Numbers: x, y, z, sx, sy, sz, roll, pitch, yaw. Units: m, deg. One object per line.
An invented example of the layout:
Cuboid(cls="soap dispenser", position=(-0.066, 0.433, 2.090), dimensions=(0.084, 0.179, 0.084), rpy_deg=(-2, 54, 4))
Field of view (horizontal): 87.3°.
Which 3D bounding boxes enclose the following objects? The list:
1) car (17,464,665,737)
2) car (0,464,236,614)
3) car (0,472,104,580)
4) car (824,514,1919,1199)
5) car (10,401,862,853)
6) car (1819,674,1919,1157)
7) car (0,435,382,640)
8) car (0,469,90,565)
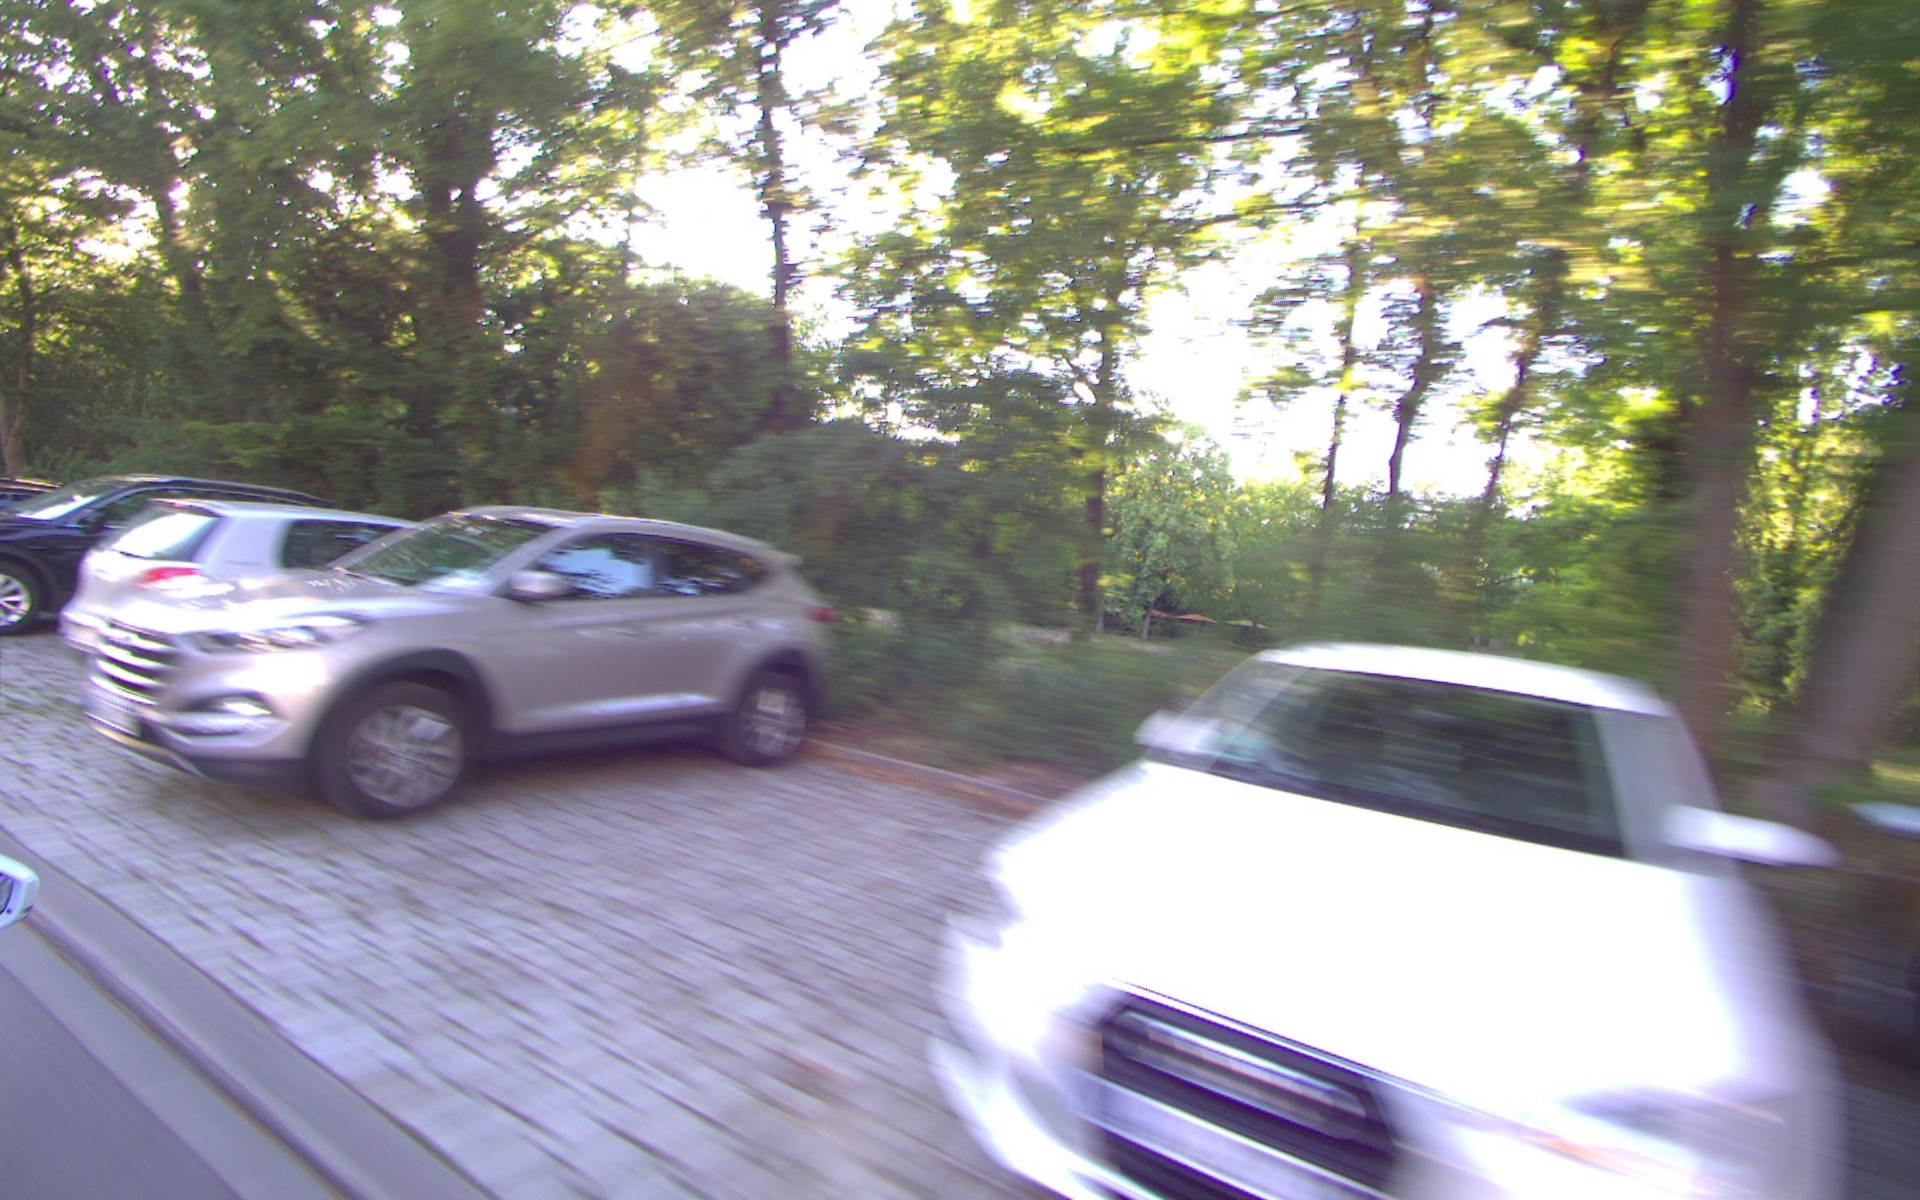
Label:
Cuboid(cls="car", position=(-4.562, 0.070, 8.046), dimensions=(1.697, 1.574, 3.990), rpy_deg=(7, 0, 32))
Cuboid(cls="car", position=(-11.123, -0.770, 11.709), dimensions=(1.697, 1.575, 3.988), rpy_deg=(7, 1, 32))
Cuboid(cls="car", position=(-15.047, -1.233, 14.220), dimensions=(1.704, 1.467, 4.155), rpy_deg=(7, 1, 36))
Cuboid(cls="car", position=(1.719, 0.835, 3.793), dimensions=(1.826, 1.574, 4.488), rpy_deg=(8, 1, 32))
Cuboid(cls="car", position=(-2.800, 0.122, 6.411), dimensions=(2.002, 1.827, 4.309), rpy_deg=(7, 1, 32))
Cuboid(cls="car", position=(3.740, 1.097, 2.476), dimensions=(1.723, 1.574, 3.990), rpy_deg=(9, 1, 32))
Cuboid(cls="car", position=(-8.769, -0.605, 10.545), dimensions=(1.853, 1.813, 4.246), rpy_deg=(7, 1, 32))
Cuboid(cls="car", position=(-16.824, -1.514, 16.274), dimensions=(1.798, 1.467, 3.806), rpy_deg=(7, 1, 36))
